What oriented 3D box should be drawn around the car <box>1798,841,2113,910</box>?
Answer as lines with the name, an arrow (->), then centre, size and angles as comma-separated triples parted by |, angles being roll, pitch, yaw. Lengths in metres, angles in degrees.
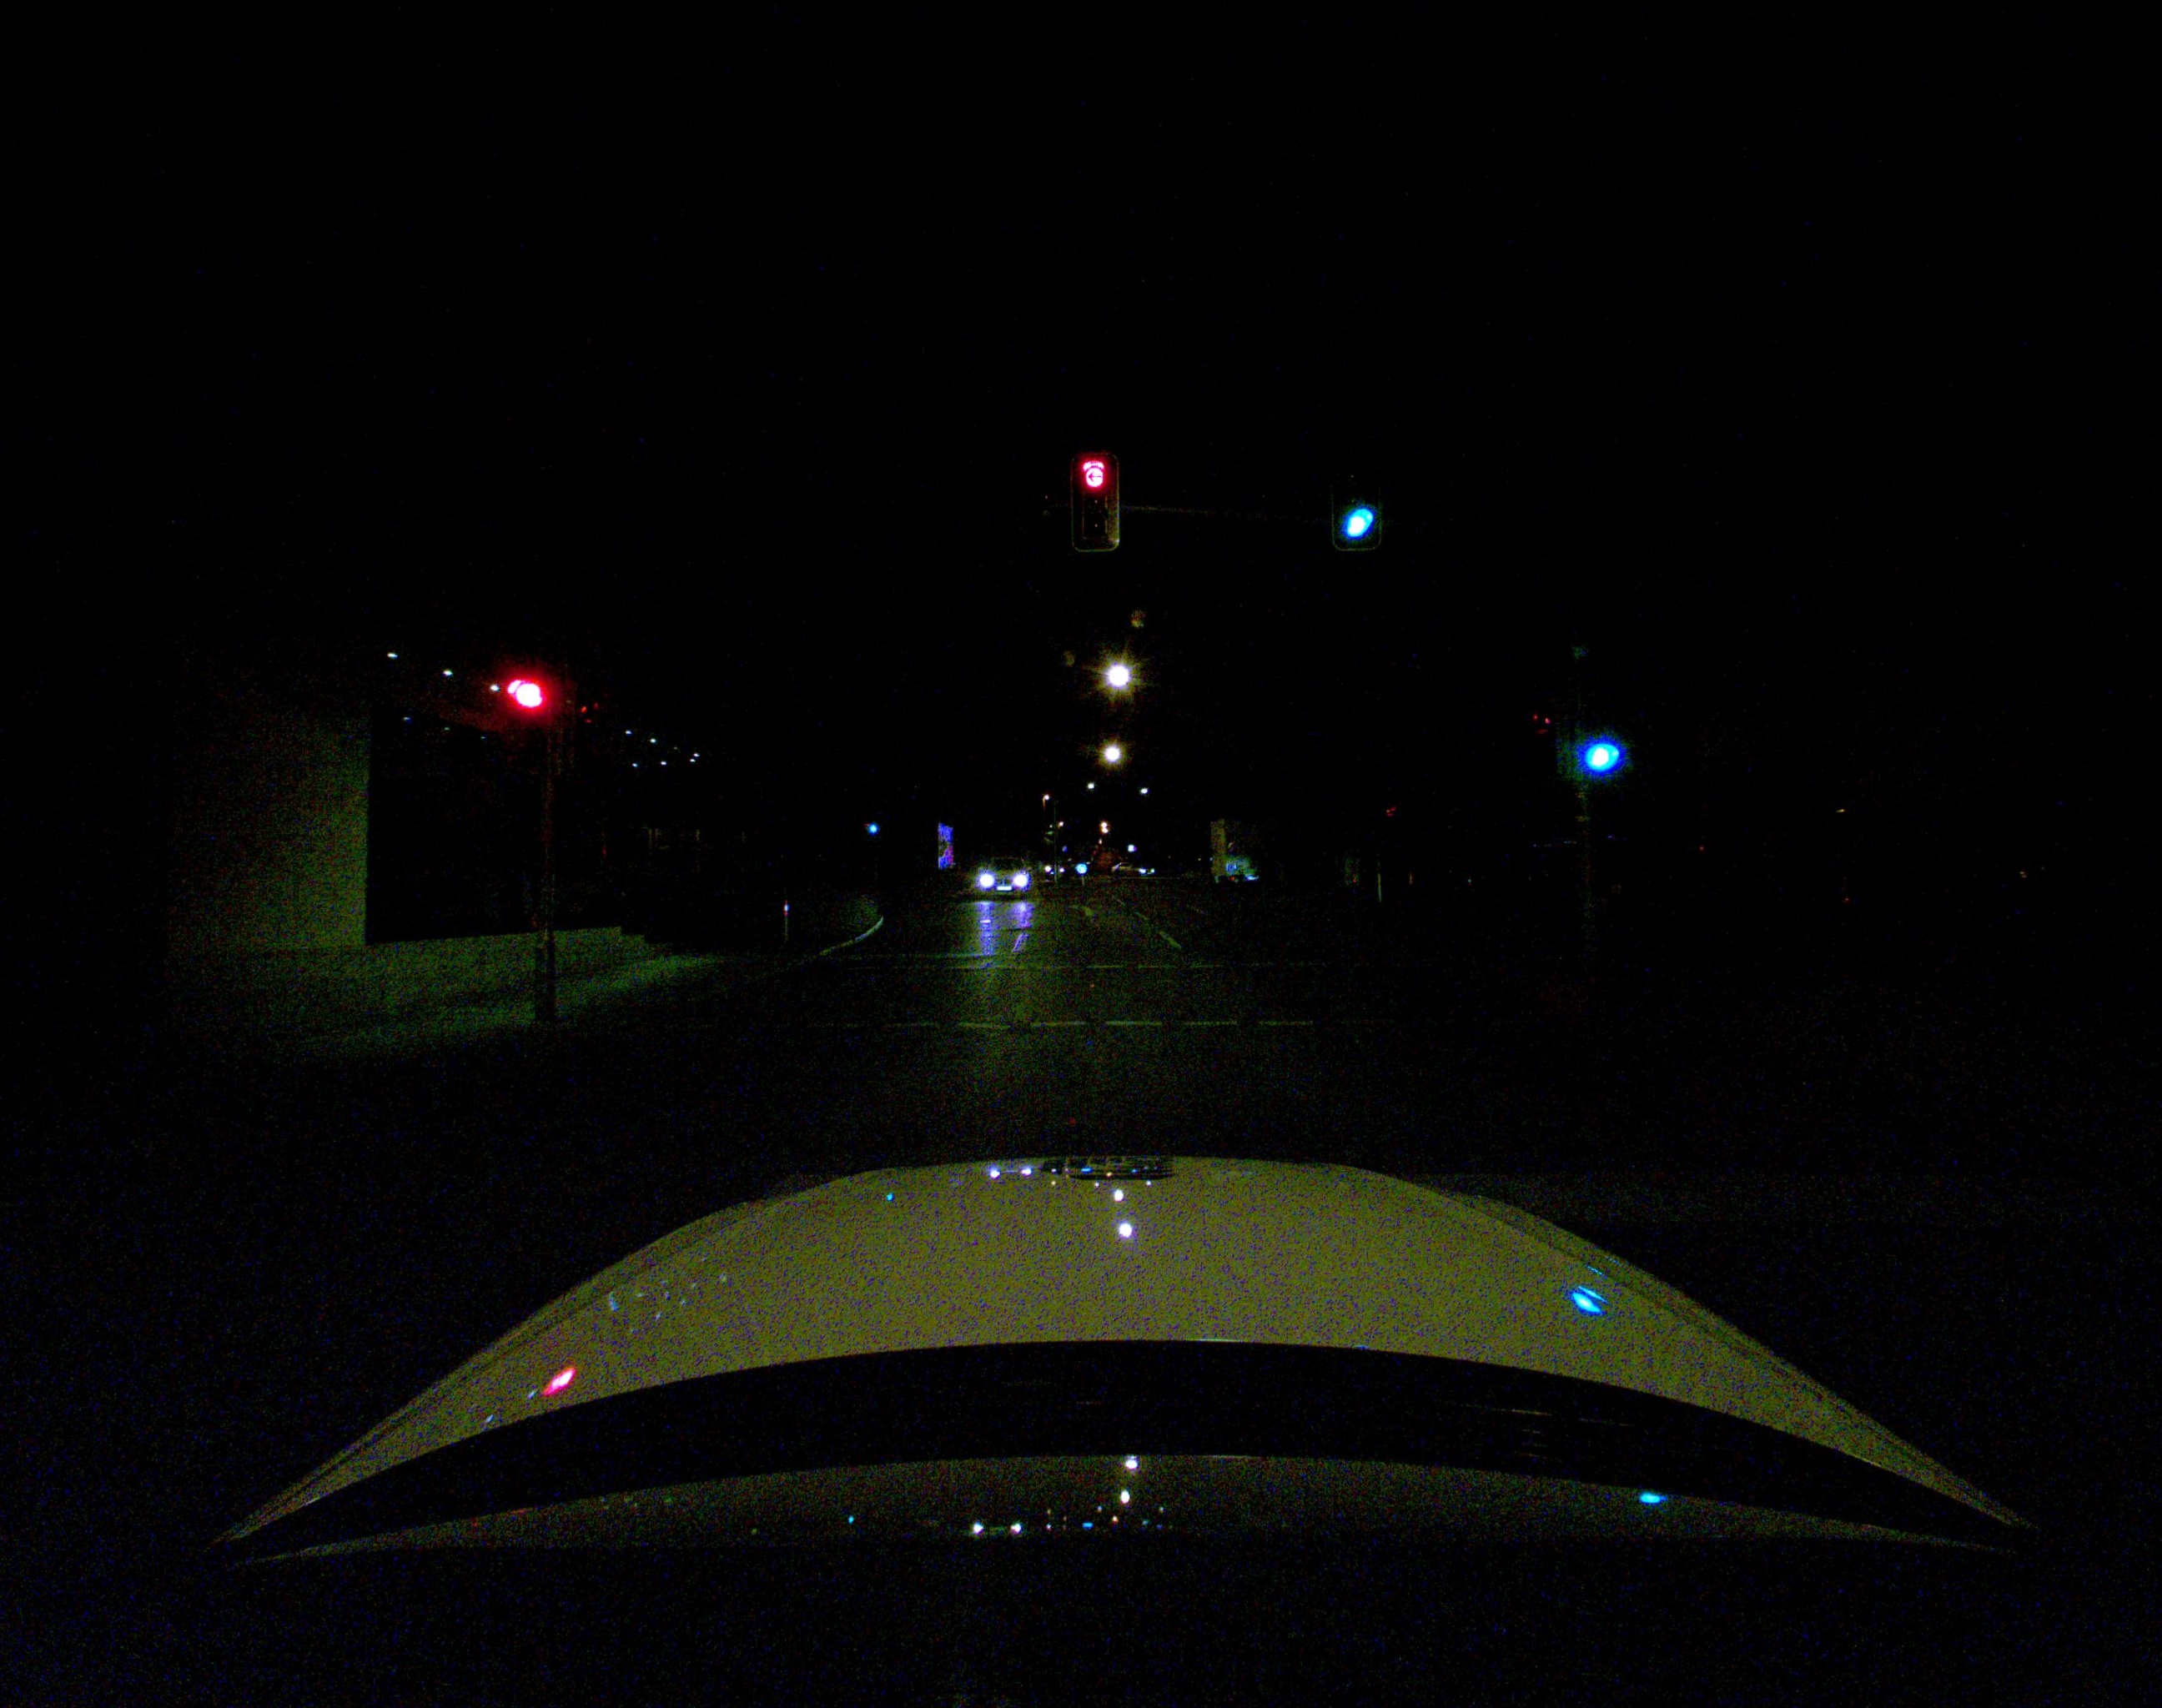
car -> 17.330, 0.435, 16.347 | 4.107, 1.280, 1.770 | -1, -1, 9

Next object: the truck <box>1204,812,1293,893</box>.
truck -> 6.938, -0.069, 34.573 | 2.738, 3.110, 6.262 | 0, 0, 2

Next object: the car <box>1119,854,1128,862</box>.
car -> 7.491, 0.740, 143.475 | 1.628, 1.452, 3.486 | 0, 0, 2

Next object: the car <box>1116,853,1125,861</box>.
car -> 7.476, 0.559, 153.220 | 1.628, 1.452, 3.486 | 0, 0, 2

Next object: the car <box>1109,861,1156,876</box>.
car -> 4.955, 1.386, 78.902 | 1.933, 1.388, 4.529 | 0, 0, -40

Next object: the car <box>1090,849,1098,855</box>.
car -> 3.003, -0.433, 187.231 | 1.809, 1.491, 4.000 | 0, 0, 0

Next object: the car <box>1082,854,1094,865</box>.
car -> 1.202, 0.932, 134.704 | 1.808, 1.684, 4.002 | 0, 0, 2

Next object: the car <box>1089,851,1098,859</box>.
car -> 2.438, 0.222, 160.829 | 1.809, 1.491, 4.000 | 0, 0, 0

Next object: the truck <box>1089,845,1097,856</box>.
truck -> 3.144, -0.833, 209.884 | 2.079, 2.848, 5.831 | 0, 0, 0

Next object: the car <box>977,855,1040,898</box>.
car -> -2.669, 0.795, 30.874 | 1.850, 1.534, 4.030 | 0, 0, 2

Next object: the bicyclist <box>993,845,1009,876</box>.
bicyclist -> -4.314, 0.366, 43.919 | 0.688, 1.637, 0.896 | -1, -1, 1

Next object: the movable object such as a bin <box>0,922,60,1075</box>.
movable object such as a bin -> -7.918, 1.033, 5.778 | 0.633, 1.049, 0.657 | -1, -1, 19

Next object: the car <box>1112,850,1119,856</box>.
car -> 8.188, -0.235, 191.634 | 1.628, 1.452, 3.486 | 0, 0, 2

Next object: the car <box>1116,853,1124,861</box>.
car -> 7.612, 0.618, 159.405 | 1.628, 1.452, 3.486 | 0, 0, 2

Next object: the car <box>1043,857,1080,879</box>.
car -> -1.375, 0.990, 58.524 | 1.569, 1.501, 3.412 | -1, 0, 18
